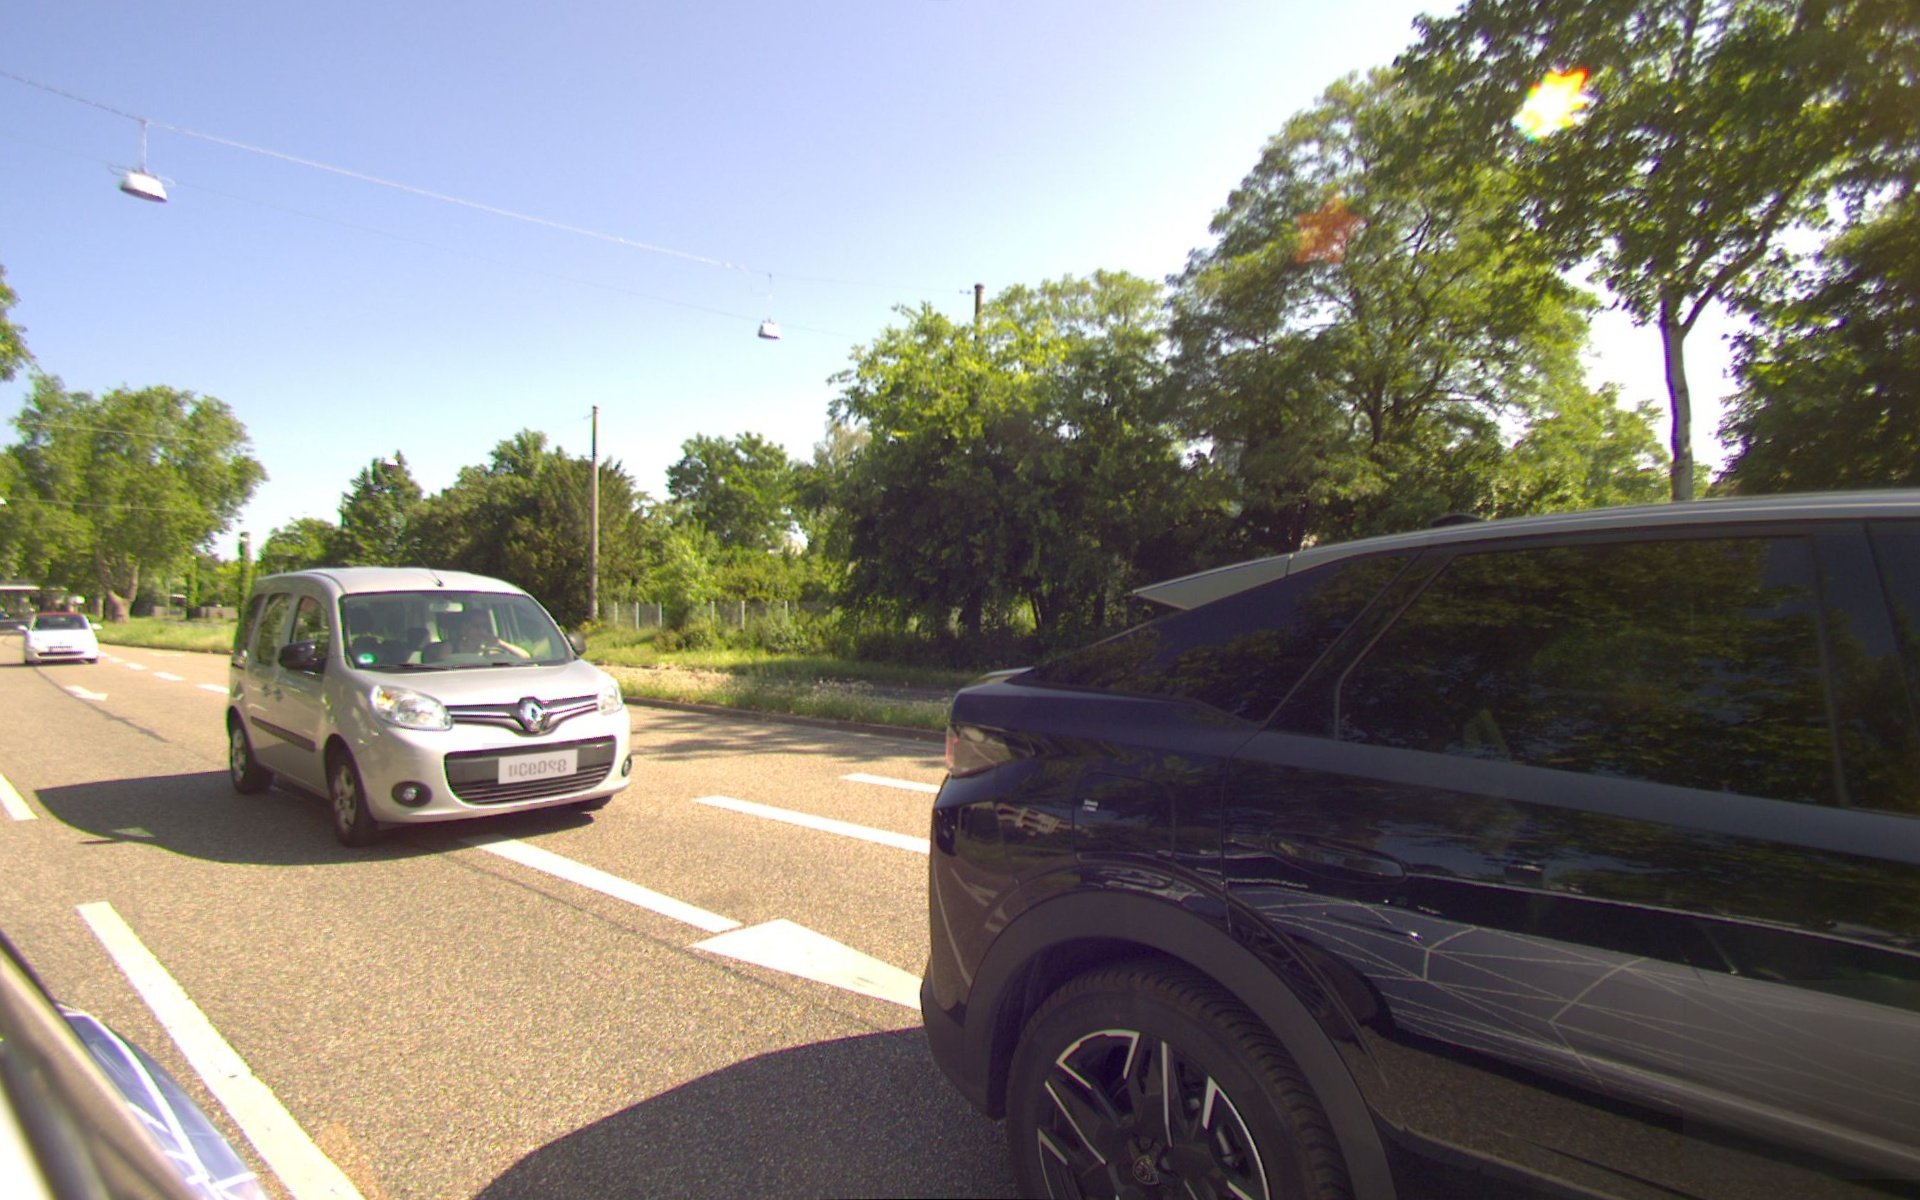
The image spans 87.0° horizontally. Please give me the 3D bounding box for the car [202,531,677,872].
[{"bbox_3d":[-4.149,0.576,7.695,4.375,1.854,1.852,-1,-1,43],"label":"car"}]

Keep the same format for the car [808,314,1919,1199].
[{"bbox_3d":[1.911,0.531,1.624,4.433,1.709,1.853,-1,-1,41],"label":"car"}]

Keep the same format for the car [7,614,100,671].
[{"bbox_3d":[-26.738,1.192,29.816,4.376,1.502,1.666,-1,0,43],"label":"car"}]
